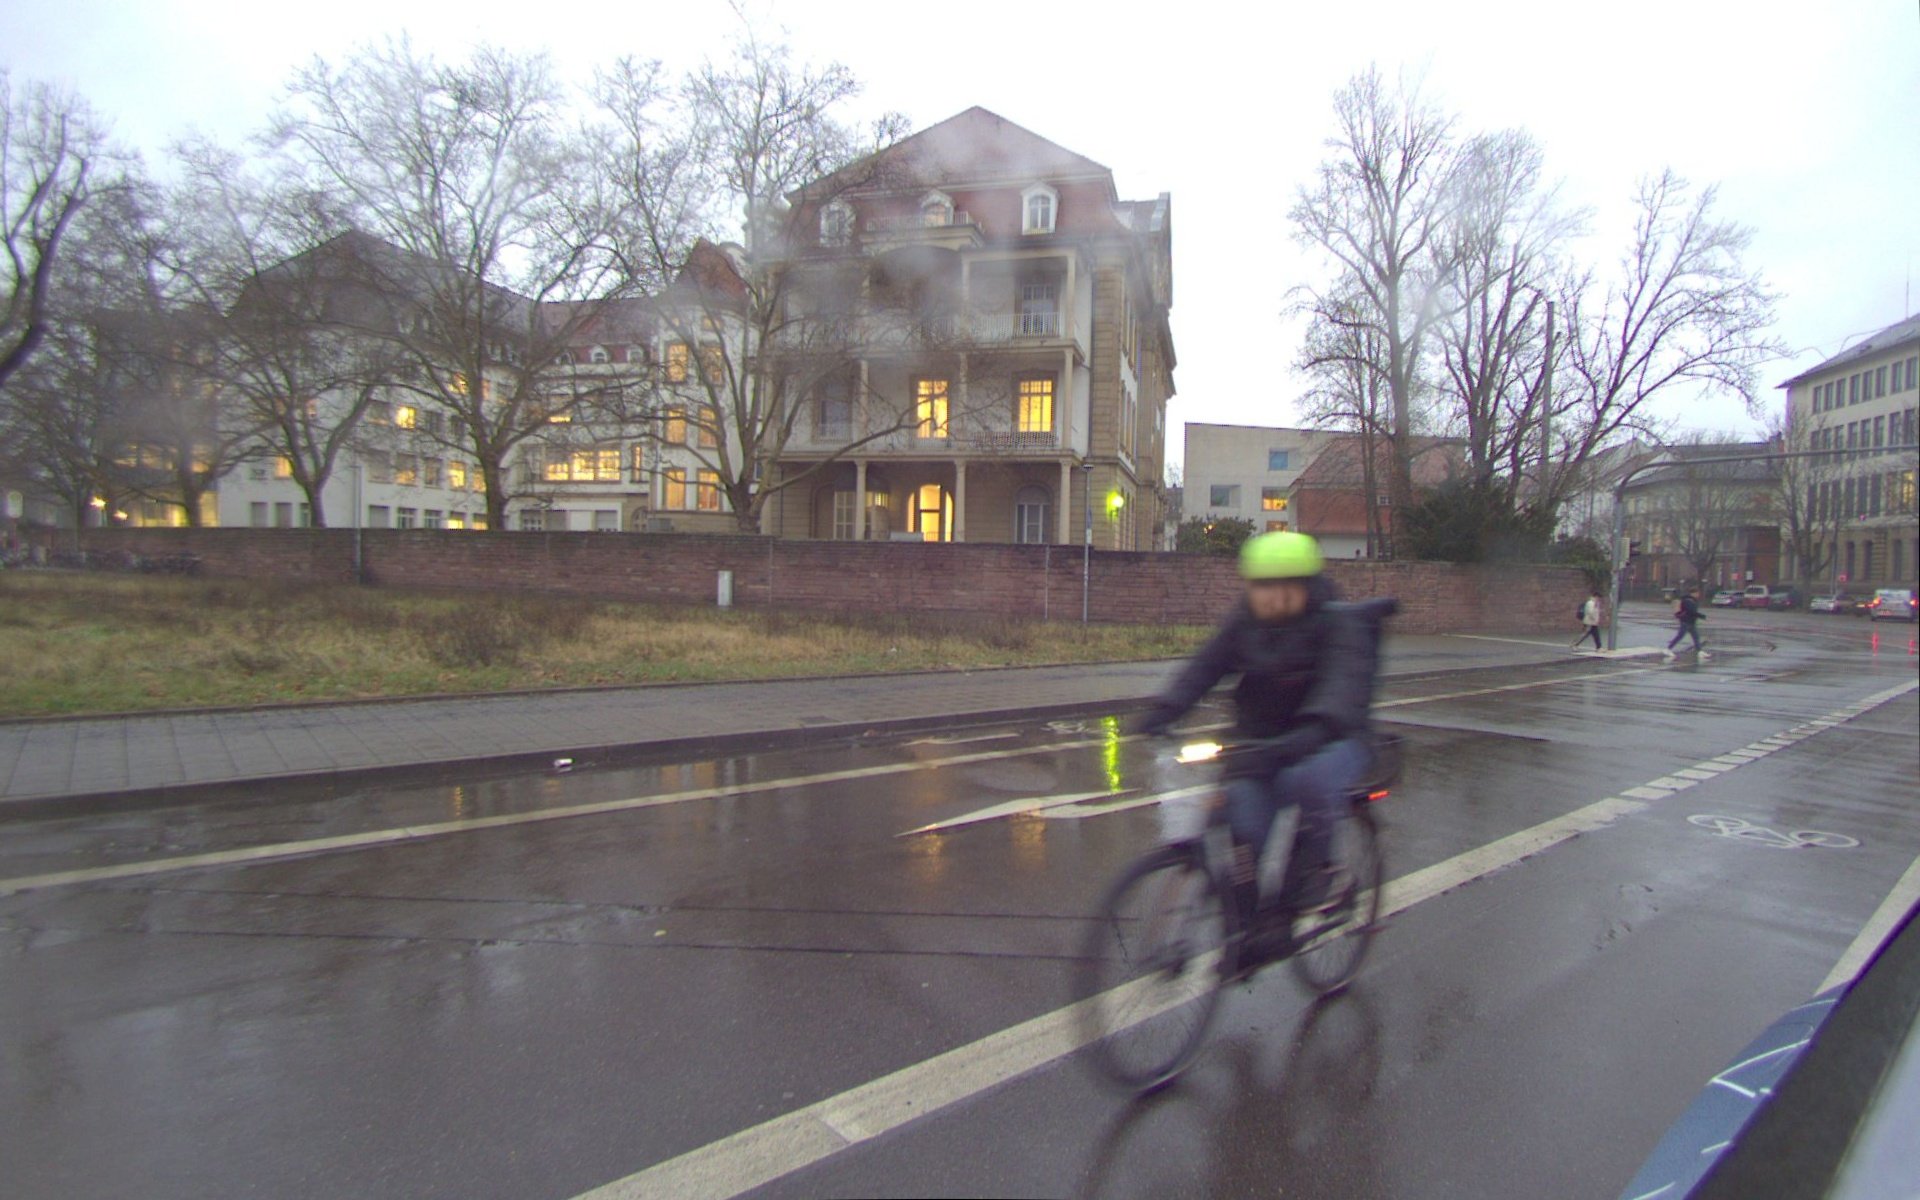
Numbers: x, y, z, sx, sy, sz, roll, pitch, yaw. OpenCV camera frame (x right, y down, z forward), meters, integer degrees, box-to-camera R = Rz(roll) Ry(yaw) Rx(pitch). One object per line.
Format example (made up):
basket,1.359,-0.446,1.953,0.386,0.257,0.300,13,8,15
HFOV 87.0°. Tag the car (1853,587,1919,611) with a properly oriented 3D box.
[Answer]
car,61.961,-0.062,67.007,3.927,1.570,1.800,0,0,4

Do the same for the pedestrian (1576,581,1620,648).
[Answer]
pedestrian,17.378,0.381,27.576,0.662,1.744,0.798,0,3,-42

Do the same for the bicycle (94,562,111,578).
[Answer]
bicycle,-43.134,-1.496,50.901,1.522,0.796,0.389,0,0,38

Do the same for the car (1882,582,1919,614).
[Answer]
car,56.660,-0.132,60.762,1.876,1.868,3.940,0,0,42

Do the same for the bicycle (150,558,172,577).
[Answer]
bicycle,-37.033,-1.497,46.889,1.480,0.849,0.346,0,0,32

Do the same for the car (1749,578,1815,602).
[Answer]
car,64.979,-0.793,80.024,3.916,1.924,2.052,0,0,-13

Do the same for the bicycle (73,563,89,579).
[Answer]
bicycle,-46.675,-1.535,53.724,1.522,0.796,0.389,0,0,38

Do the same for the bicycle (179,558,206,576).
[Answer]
bicycle,-34.213,-1.469,45.114,1.399,0.796,0.355,0,0,26

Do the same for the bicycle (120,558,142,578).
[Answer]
bicycle,-39.911,-1.539,48.726,1.519,0.928,0.389,0,0,33

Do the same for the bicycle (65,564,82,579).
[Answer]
bicycle,-47.898,-1.538,54.678,1.522,0.796,0.389,0,0,38

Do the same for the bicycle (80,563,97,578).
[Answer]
bicycle,-45.444,-1.532,52.745,1.522,0.796,0.389,0,0,38

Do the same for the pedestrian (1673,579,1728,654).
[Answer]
pedestrian,19.767,0.422,27.013,0.662,1.924,0.998,0,3,-41

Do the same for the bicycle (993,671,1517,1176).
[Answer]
bicycle,1.081,0.859,3.416,1.923,1.088,0.784,-1,0,-41

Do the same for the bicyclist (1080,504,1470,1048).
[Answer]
bicyclist,1.073,0.468,3.406,1.114,1.471,0.784,0,0,-41

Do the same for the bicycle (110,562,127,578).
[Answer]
bicycle,-41.477,-1.476,49.880,1.599,0.796,0.388,0,0,41

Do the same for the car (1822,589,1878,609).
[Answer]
car,63.600,-0.083,72.302,3.568,1.322,1.712,-1,0,-25

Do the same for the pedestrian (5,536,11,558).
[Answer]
pedestrian,-78.354,-4.343,83.306,0.312,1.814,0.462,1,2,-39

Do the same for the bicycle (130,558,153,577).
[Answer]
bicycle,-38.629,-1.507,47.772,1.519,0.869,0.389,0,0,33

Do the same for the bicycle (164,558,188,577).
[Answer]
bicycle,-35.553,-1.469,45.863,1.519,0.796,0.389,0,0,33

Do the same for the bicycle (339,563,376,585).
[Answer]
bicycle,-23.387,-0.989,39.275,1.366,0.835,0.392,0,0,14

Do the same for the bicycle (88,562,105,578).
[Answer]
bicycle,-44.181,-1.530,51.772,1.522,0.796,0.389,0,0,38

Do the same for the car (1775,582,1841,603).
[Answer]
car,64.698,-0.587,77.227,3.916,1.570,1.805,0,0,-13

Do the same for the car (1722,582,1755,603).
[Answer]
car,66.479,-0.646,86.389,1.992,1.690,3.940,0,1,42
